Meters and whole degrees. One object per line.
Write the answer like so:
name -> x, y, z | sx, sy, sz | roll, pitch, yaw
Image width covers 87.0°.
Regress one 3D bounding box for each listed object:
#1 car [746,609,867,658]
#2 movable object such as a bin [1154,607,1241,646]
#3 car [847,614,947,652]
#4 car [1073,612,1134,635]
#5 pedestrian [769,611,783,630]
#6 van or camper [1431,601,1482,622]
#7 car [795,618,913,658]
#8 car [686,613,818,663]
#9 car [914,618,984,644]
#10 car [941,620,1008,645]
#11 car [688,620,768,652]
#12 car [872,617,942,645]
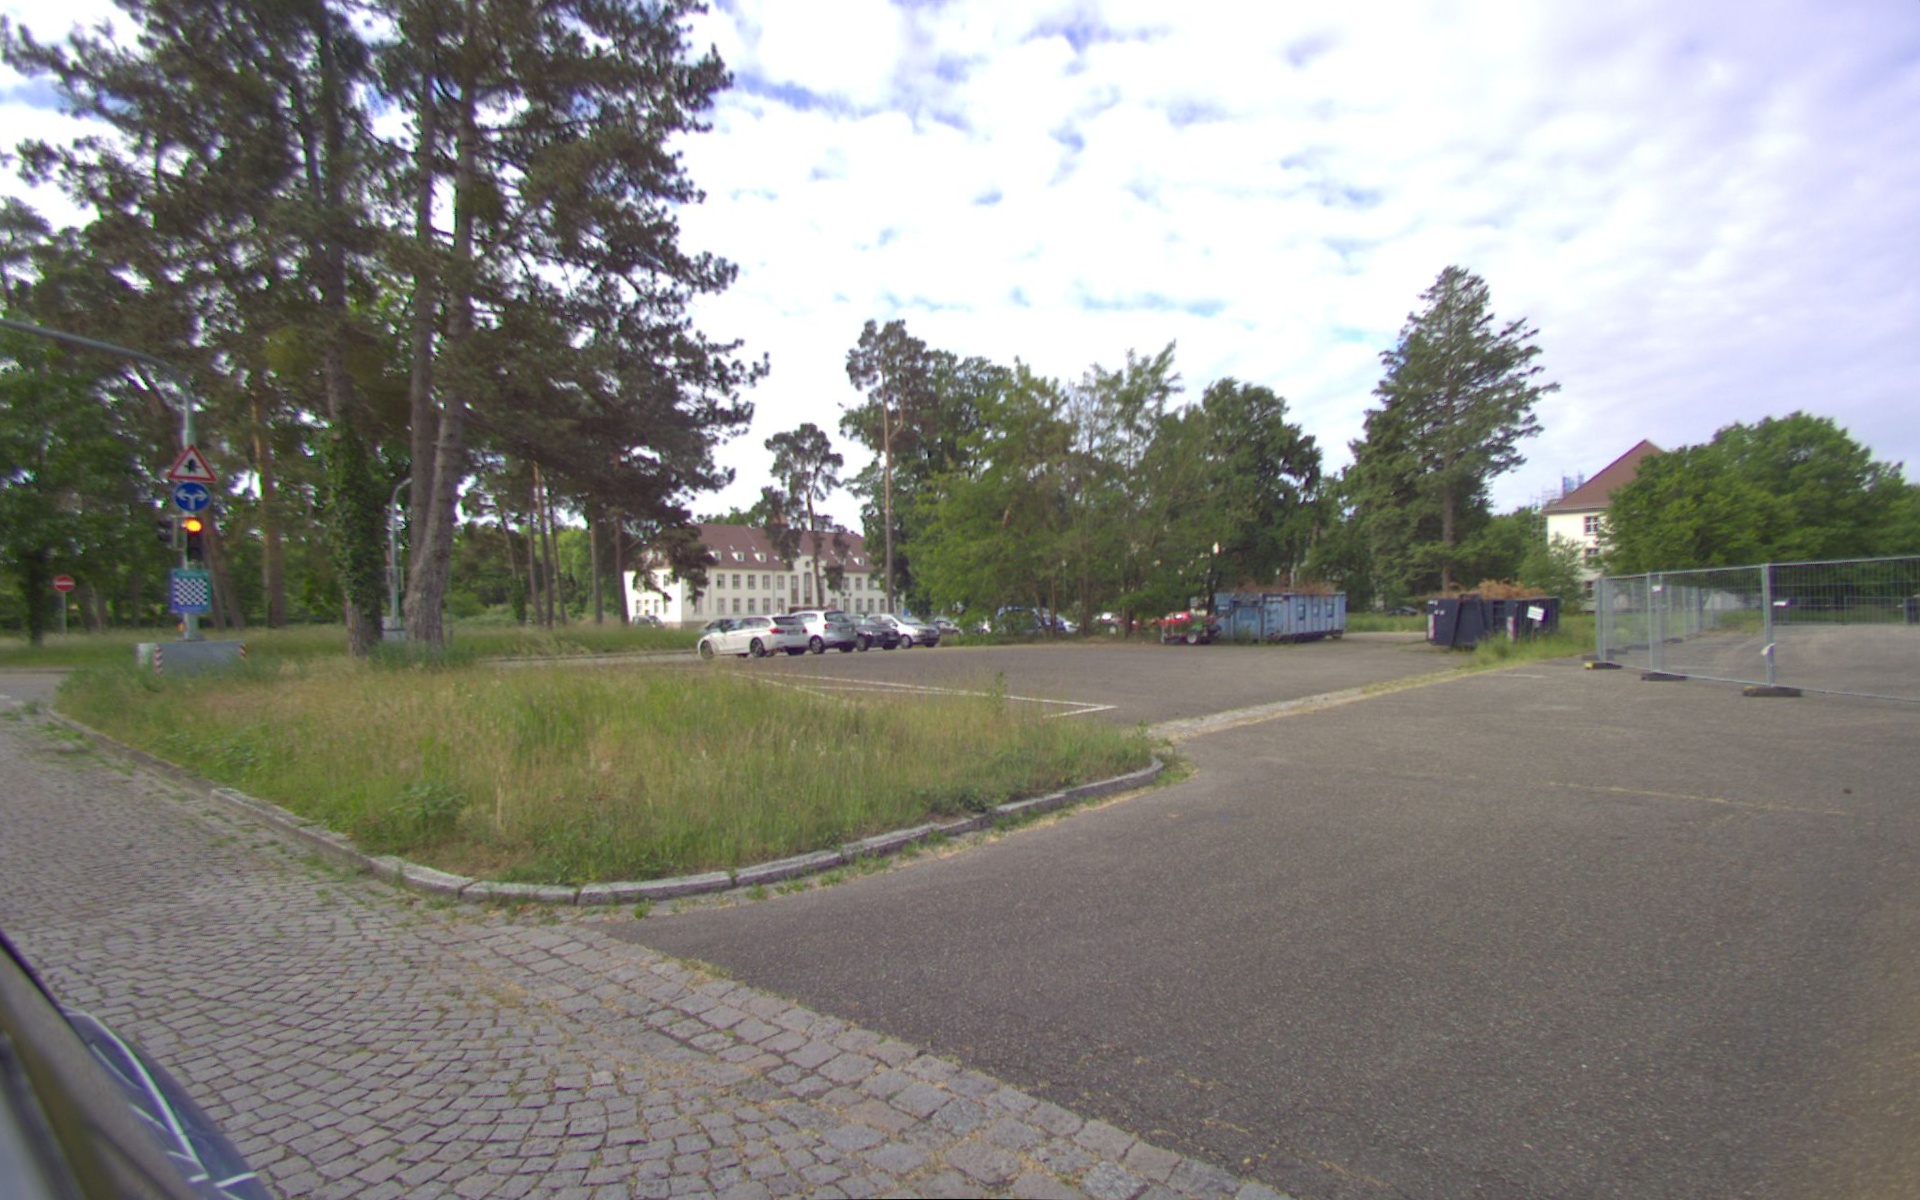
car -> -5.692, 1.261, 37.220 | 4.482, 1.602, 1.824 | -4, -3, 38
movable object such as a bin -> 7.848, 0.872, 33.525 | 2.538, 1.221, 1.154 | -2, -1, 42
car -> -2.612, 1.359, 41.570 | 3.981, 1.467, 1.659 | -2, -1, 38
car -> 10.212, 1.683, 72.138 | 4.002, 1.516, 1.842 | -2, -1, 45
pedestrian -> -20.587, 2.285, 113.156 | 1.185, 2.194, 1.041 | -2, -1, 42
van or camper -> 61.137, 1.464, 124.606 | 5.247, 2.482, 2.180 | -2, -1, 40
car -> -4.184, 1.460, 39.438 | 4.631, 1.433, 1.860 | -2, -1, 40
car -> -7.300, 1.345, 35.208 | 4.817, 1.450, 1.888 | -5, -3, 40
car -> -0.684, 1.804, 59.093 | 3.935, 1.446, 1.771 | -2, -1, 43
car -> 0.862, 1.955, 61.608 | 3.935, 1.460, 1.771 | -2, -1, 43
car -> -11.030, 1.673, 47.951 | 4.000, 1.429, 1.771 | -2, -1, 43
car -> -3.025, 1.754, 57.368 | 3.936, 1.487, 1.771 | -2, -1, 43
